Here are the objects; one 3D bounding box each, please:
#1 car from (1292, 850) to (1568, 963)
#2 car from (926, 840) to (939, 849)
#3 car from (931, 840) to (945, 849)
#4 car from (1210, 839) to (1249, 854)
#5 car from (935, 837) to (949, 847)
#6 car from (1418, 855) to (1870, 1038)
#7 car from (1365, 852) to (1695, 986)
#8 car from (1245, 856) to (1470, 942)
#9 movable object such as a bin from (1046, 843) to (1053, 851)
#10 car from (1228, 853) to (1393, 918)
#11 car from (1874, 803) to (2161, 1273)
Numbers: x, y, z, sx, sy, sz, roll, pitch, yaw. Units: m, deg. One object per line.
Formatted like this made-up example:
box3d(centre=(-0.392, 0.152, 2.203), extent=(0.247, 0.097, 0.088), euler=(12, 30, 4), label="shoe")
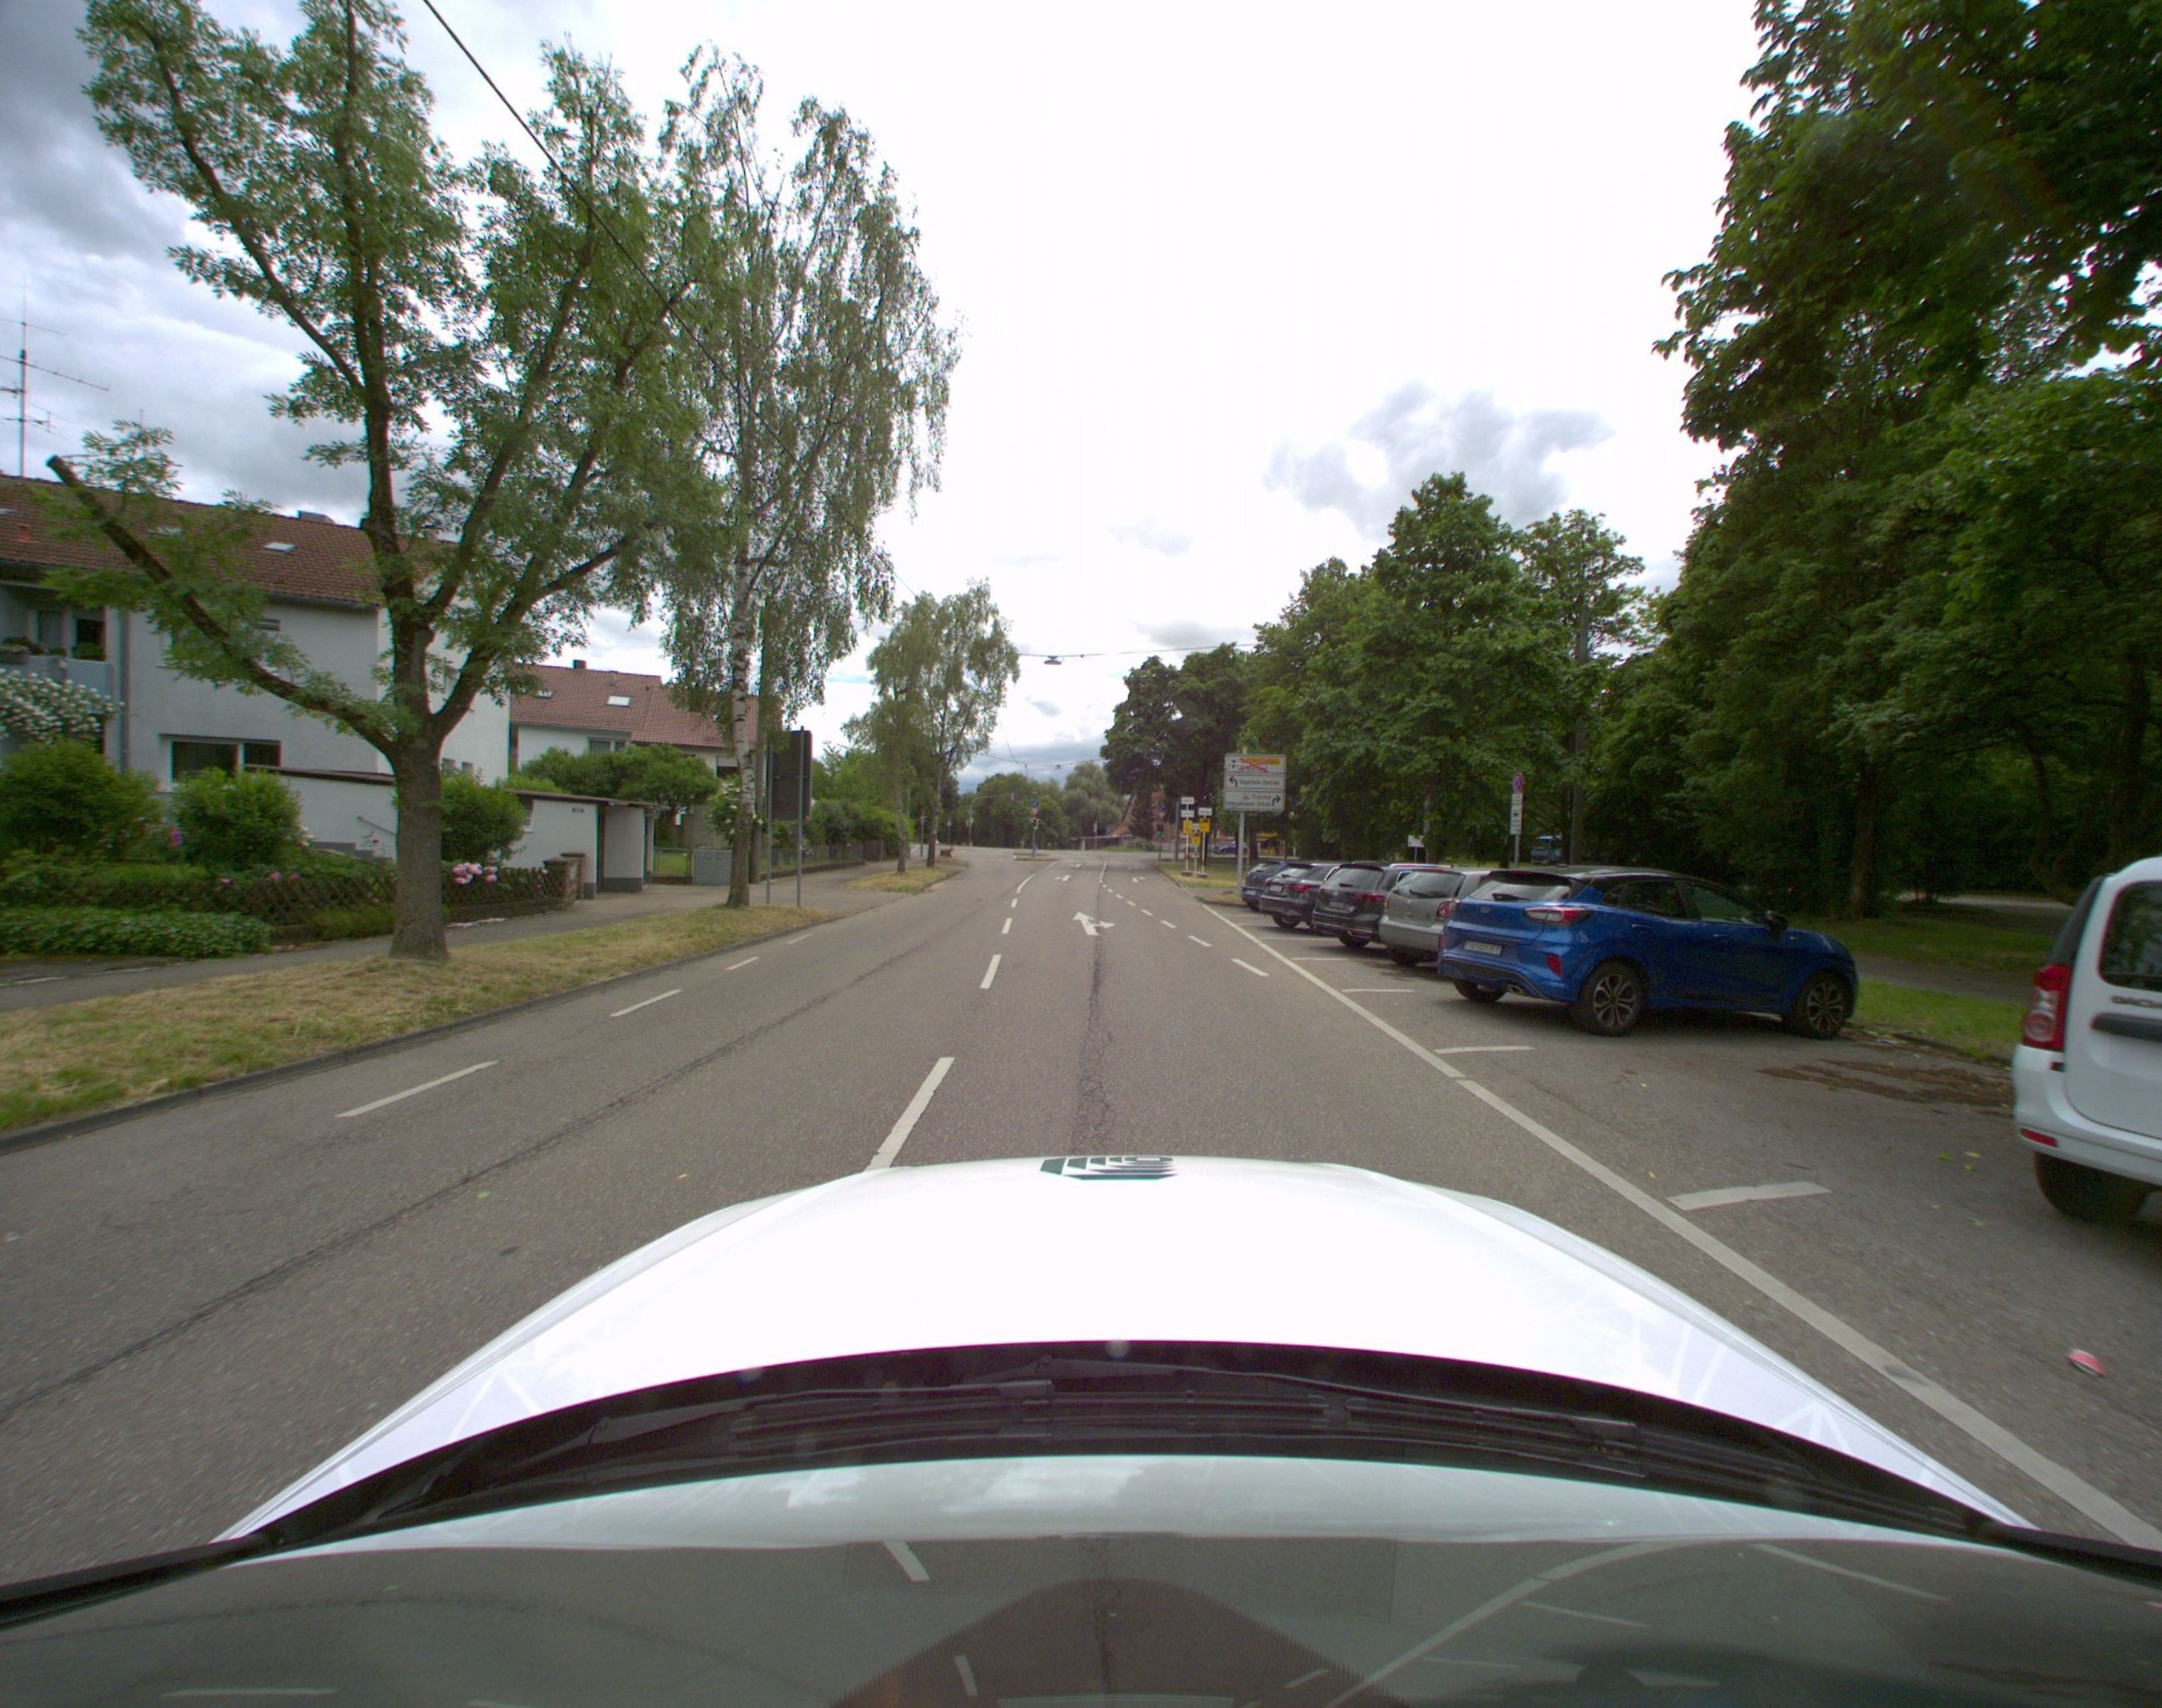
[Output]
box3d(centre=(5.604, 0.825, 13.184), extent=(3.827, 1.528, 1.737), euler=(4, -1, -17), label="car")
box3d(centre=(-26.087, -1.677, 143.328), extent=(1.798, 1.409, 3.977), euler=(1, 1, -17), label="car")
box3d(centre=(-24.280, -1.564, 137.856), extent=(1.798, 1.409, 3.977), euler=(1, 1, -17), label="car")
box3d(centre=(17.060, -0.902, 93.605), extent=(3.855, 1.647, 1.988), euler=(1, 1, -18), label="car")
box3d(centre=(-22.782, -1.950, 133.548), extent=(1.798, 1.512, 3.977), euler=(1, 1, -17), label="car")
box3d(centre=(5.641, 0.904, 8.271), extent=(3.827, 1.528, 1.737), euler=(4, -1, -17), label="car")
box3d(centre=(6.100, 0.870, 11.163), extent=(3.827, 1.528, 1.737), euler=(4, -1, -17), label="car")
box3d(centre=(5.476, 0.875, 16.272), extent=(3.881, 1.426, 1.820), euler=(4, -1, -17), label="car")
box3d(centre=(-4.148, -0.924, 106.943), extent=(0.636, 1.001, 0.579), euler=(2, -1, -26), label="movable object such as a bin")
box3d(centre=(6.058, 0.821, 21.603), extent=(3.827, 1.425, 1.737), euler=(4, -1, -17), label="car")
box3d(centre=(5.832, 0.793, 3.459), extent=(3.827, 1.720, 1.868), euler=(4, -1, -17), label="car")
